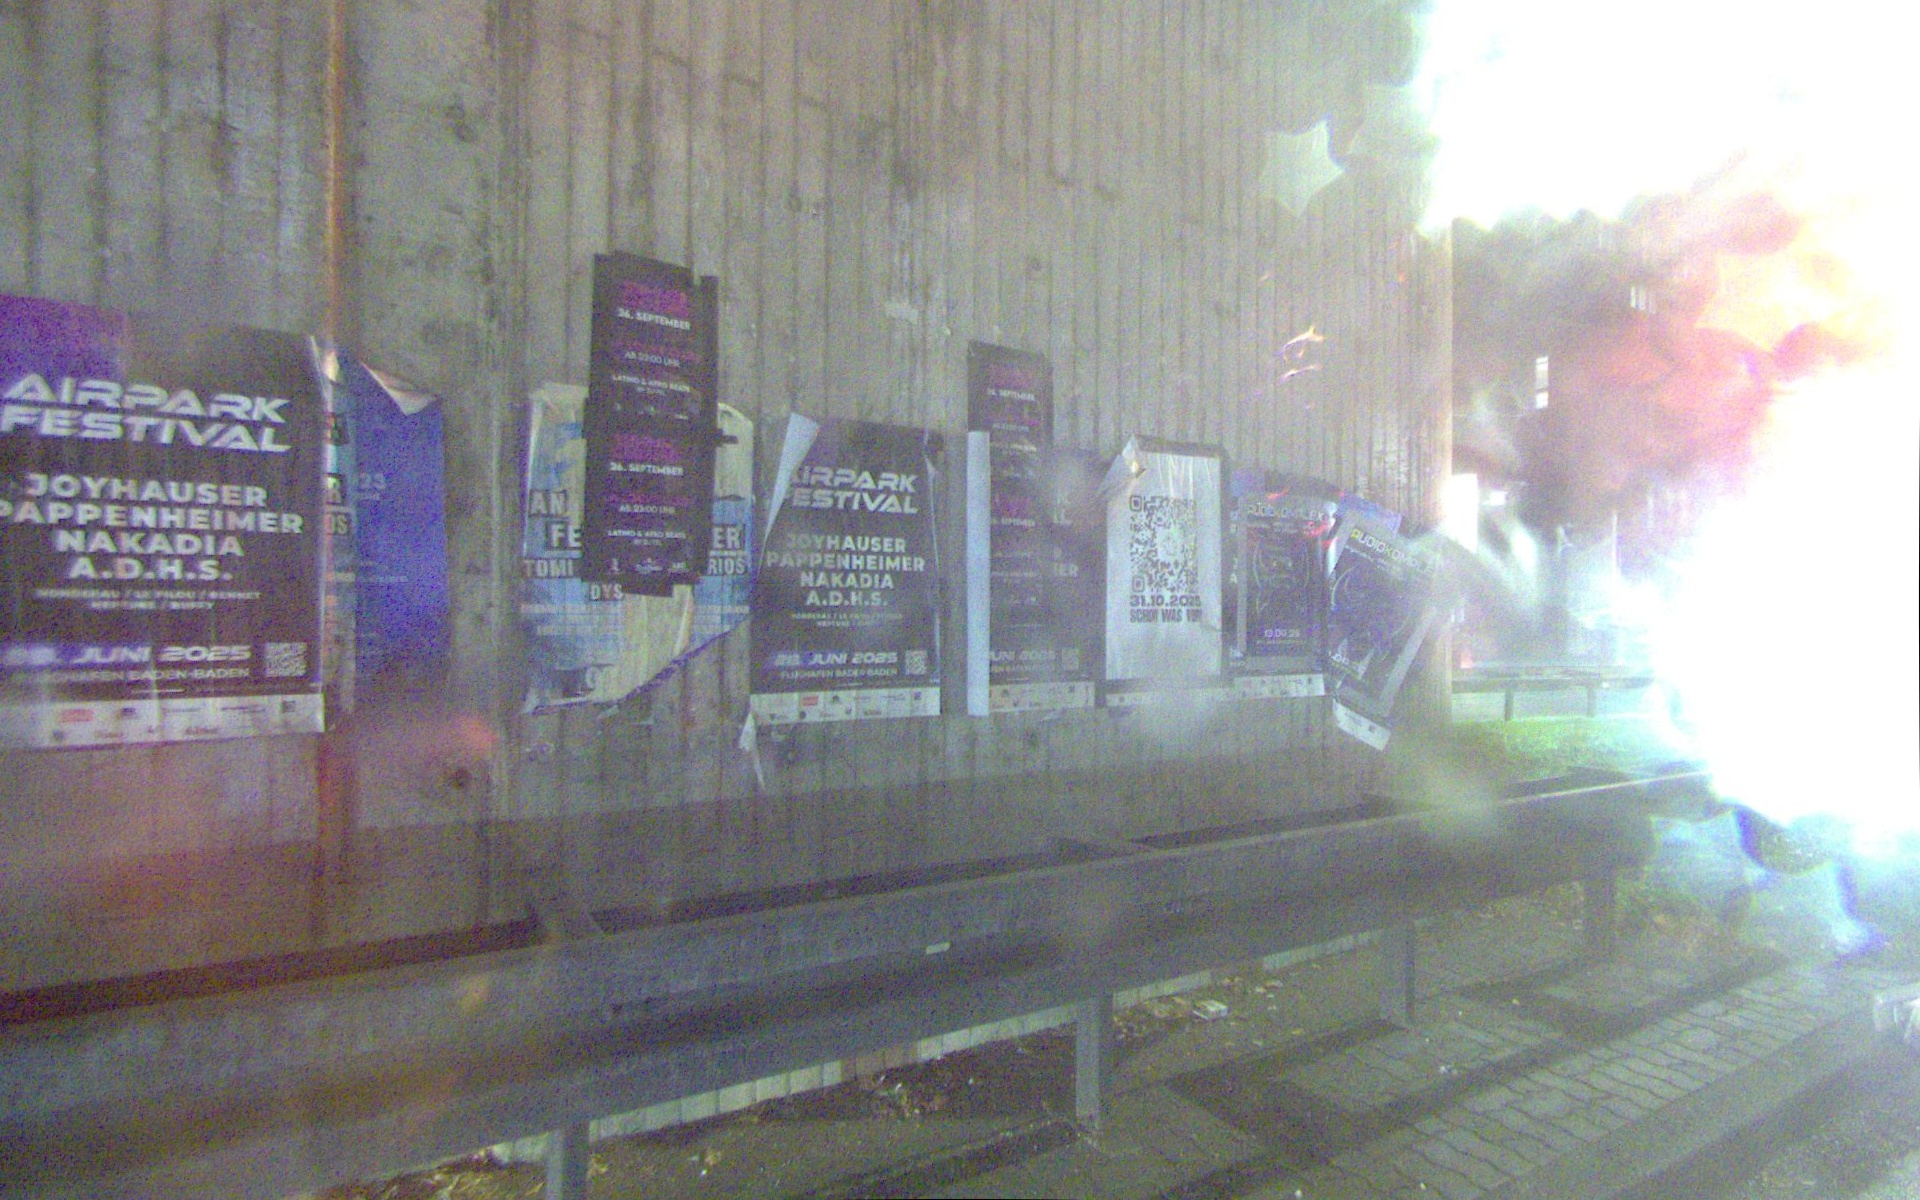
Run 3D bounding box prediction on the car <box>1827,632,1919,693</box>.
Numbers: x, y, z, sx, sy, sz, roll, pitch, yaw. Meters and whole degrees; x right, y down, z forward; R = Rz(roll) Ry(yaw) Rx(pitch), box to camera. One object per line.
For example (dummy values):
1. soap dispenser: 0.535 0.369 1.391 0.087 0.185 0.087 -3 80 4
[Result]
1. car: 25.595 1.690 27.669 3.530 1.536 1.688 2 -1 -33
